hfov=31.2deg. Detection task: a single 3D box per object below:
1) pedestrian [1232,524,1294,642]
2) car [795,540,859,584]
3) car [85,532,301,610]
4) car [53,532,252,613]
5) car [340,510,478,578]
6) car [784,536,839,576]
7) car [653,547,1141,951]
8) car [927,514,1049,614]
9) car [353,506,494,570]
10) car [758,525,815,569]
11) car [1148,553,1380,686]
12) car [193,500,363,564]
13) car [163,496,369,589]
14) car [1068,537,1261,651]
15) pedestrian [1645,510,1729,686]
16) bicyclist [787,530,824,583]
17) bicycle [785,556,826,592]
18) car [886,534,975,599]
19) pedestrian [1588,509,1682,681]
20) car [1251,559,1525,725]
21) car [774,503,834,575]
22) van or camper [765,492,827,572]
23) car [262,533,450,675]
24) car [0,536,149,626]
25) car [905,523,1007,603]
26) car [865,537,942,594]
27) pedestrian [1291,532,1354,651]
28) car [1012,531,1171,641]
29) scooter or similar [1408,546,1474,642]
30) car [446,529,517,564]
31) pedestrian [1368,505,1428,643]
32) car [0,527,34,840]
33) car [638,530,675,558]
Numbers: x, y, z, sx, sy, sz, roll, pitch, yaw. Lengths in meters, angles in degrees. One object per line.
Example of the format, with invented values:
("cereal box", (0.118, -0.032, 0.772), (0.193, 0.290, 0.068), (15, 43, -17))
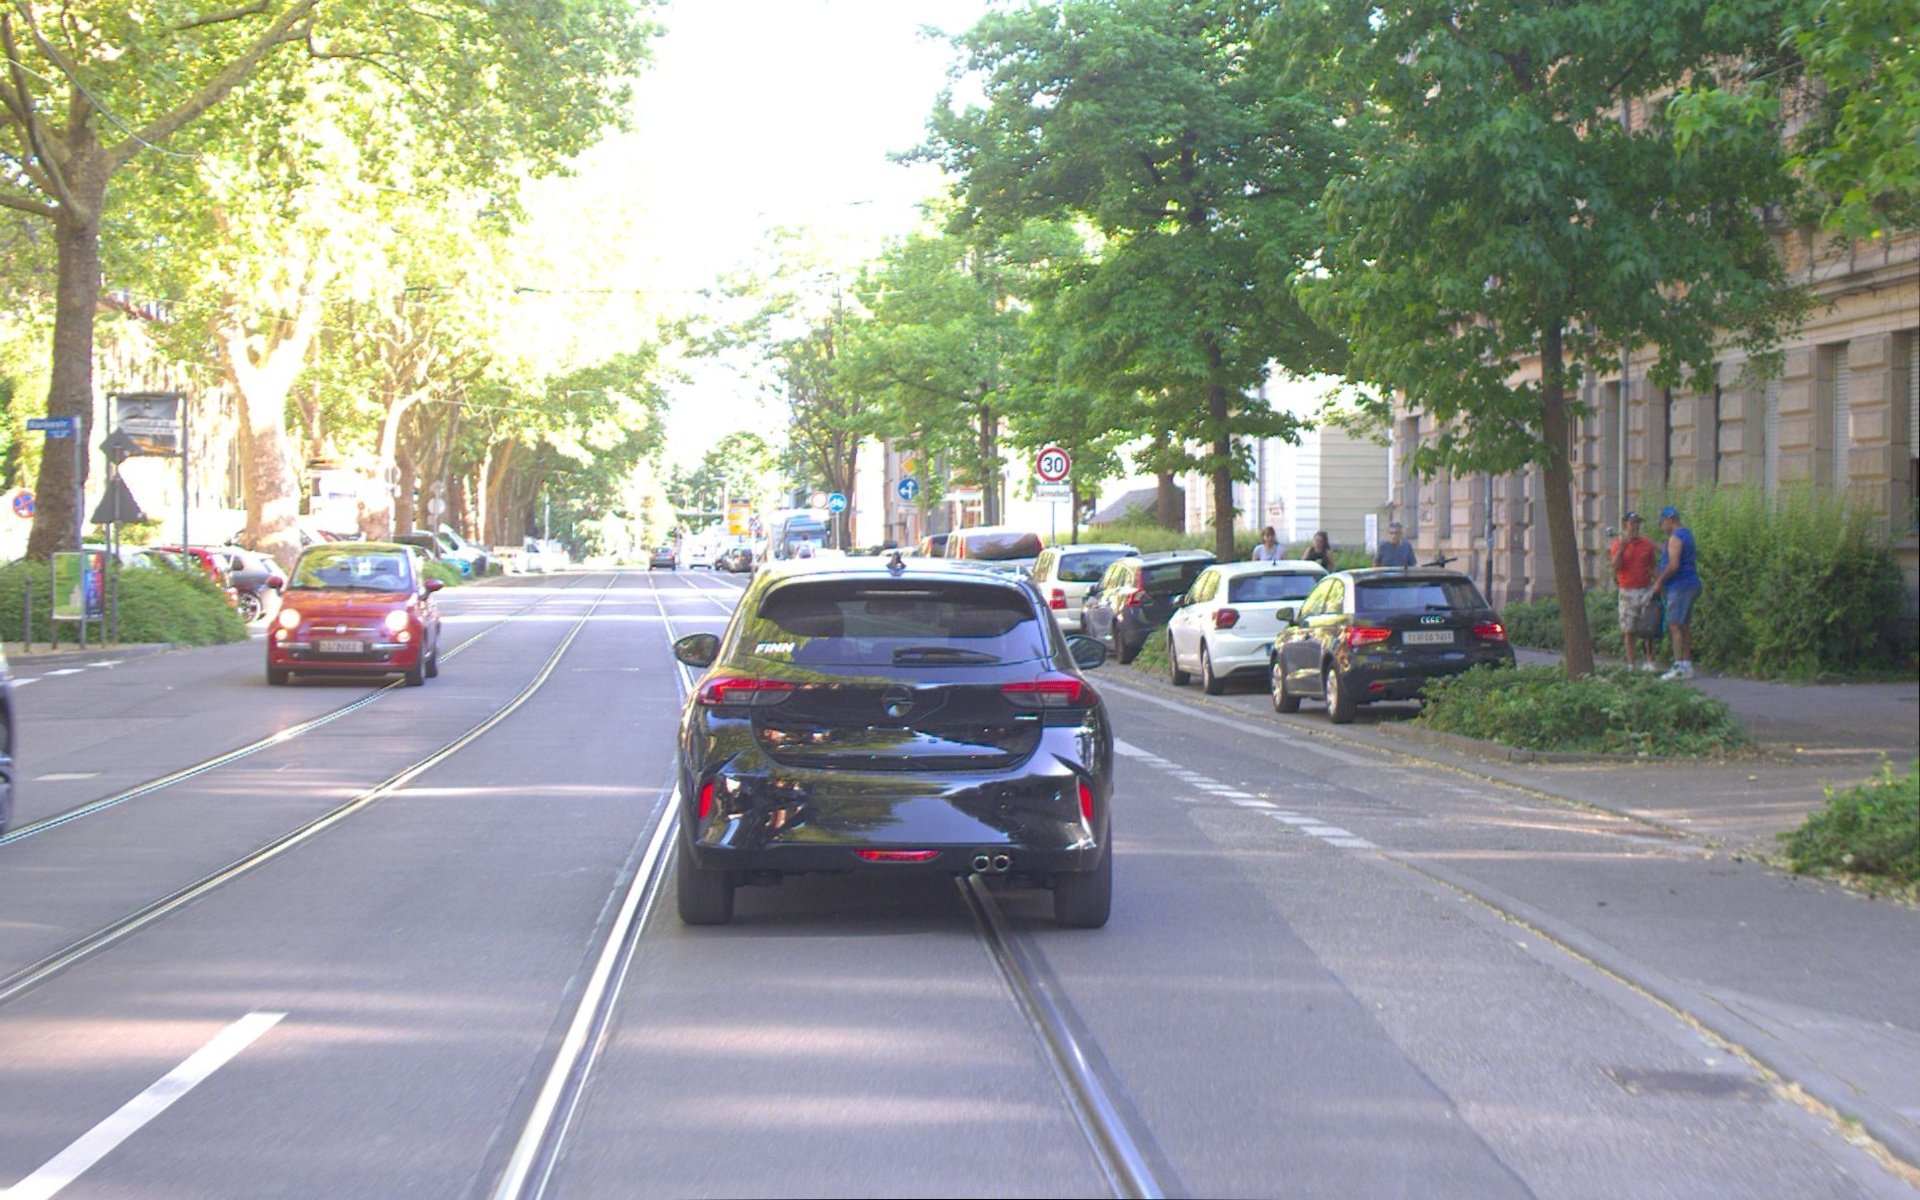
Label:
("pedestrian", (4.395, -0.250, 49.964), (0.726, 1.687, 0.957), (1, 1, -4))
("car", (-4.593, -1.315, 118.246), (1.883, 1.429, 4.531), (-2, 1, -5))
("car", (-15.305, -0.590, 68.741), (3.986, 1.460, 1.854), (1, 1, -5))
("car", (-15.448, -0.537, 65.871), (3.419, 1.460, 1.760), (1, 1, -3))
("car", (-21.414, -2.189, 133.766), (5.035, 2.366, 2.082), (-3, 1, -5))
("car", (-5.563, -1.636, 128.486), (1.803, 1.429, 4.001), (-1, 0, -5))
("car", (-0.400, 0.519, 14.555), (1.763, 1.455, 3.951), (1, 1, -5))
("car", (0.516, -0.734, 68.722), (1.883, 1.845, 4.968), (-2, 1, -5))
("car", (-22.818, -2.635, 146.406), (5.638, 2.584, 2.196), (1, 1, -1))
("car", (-7.560, -2.292, 149.356), (2.254, 1.834, 5.532), (-1, 1, -5))
("car", (3.411, 0.183, 39.313), (1.883, 1.363, 4.108), (-2, 1, -5))
("car", (-18.057, -1.798, 91.190), (4.298, 1.601, 1.926), (1, 1, -7))
("car", (-17.753, -1.477, 88.192), (5.032, 2.251, 2.086), (1, 1, -8))
("car", (2.825, -0.116, 48.558), (1.883, 1.462, 4.595), (-2, 1, -7))
("pedestrian", (7.501, -0.028, 35.476), (0.598, 1.787, 0.728), (1, 1, -8))
("bicyclist", (-4.458, -1.260, 99.026), (0.958, 1.494, 1.094), (1, 1, -7))
("bicycle", (-4.464, -0.763, 99.060), (0.967, 0.995, 2.584), (1, 1, -7))
("car", (-0.737, -0.826, 83.766), (1.711, 1.509, 4.038), (-2, 1, -6))
("pedestrian", (7.111, -0.056, 36.236), (0.726, 1.787, 0.600), (1, 1, -33))
("car", (4.006, 0.350, 32.768), (1.672, 1.407, 3.844), (-2, 1, -7))
("car", (-6.172, -2.411, 135.655), (2.085, 2.762, 4.698), (-1, 2, -5))
("van or camper", (-6.800, -2.790, 142.186), (2.254, 3.205, 5.532), (-1, 1, -5))
("car", (-6.445, 0.013, 36.970), (1.660, 1.439, 3.474), (0, 1, -5))
("car", (-15.672, -0.338, 58.419), (3.419, 1.460, 1.697), (1, 1, -3))
("car", (-0.128, -0.849, 77.915), (1.885, 1.760, 4.679), (0, 1, -5))
("car", (-1.534, -0.938, 92.426), (1.702, 1.418, 3.979), (-3, 1, -5))
("pedestrian", (5.272, -0.135, 50.028), (0.726, 1.703, 0.856), (1, 1, -5))
("car", (1.990, -0.246, 53.254), (1.883, 1.562, 4.243), (-2, 1, -5))
("scooter or similar", (6.394, -0.089, 45.731), (0.575, 1.242, 1.335), (1, 1, -4))
("car", (-29.052, -3.241, 208.951), (3.987, 2.007, 2.000), (1, 1, 1))
("pedestrian", (5.736, -0.341, 45.081), (0.726, 1.787, 0.600), (1, 1, 5))
("car", (-5.609, 0.451, 15.926), (1.815, 1.563, 4.117), (-1, 1, -5))
("car", (-20.441, -3.759, 231.471), (2.254, 1.834, 5.532), (-1, 1, -3))
